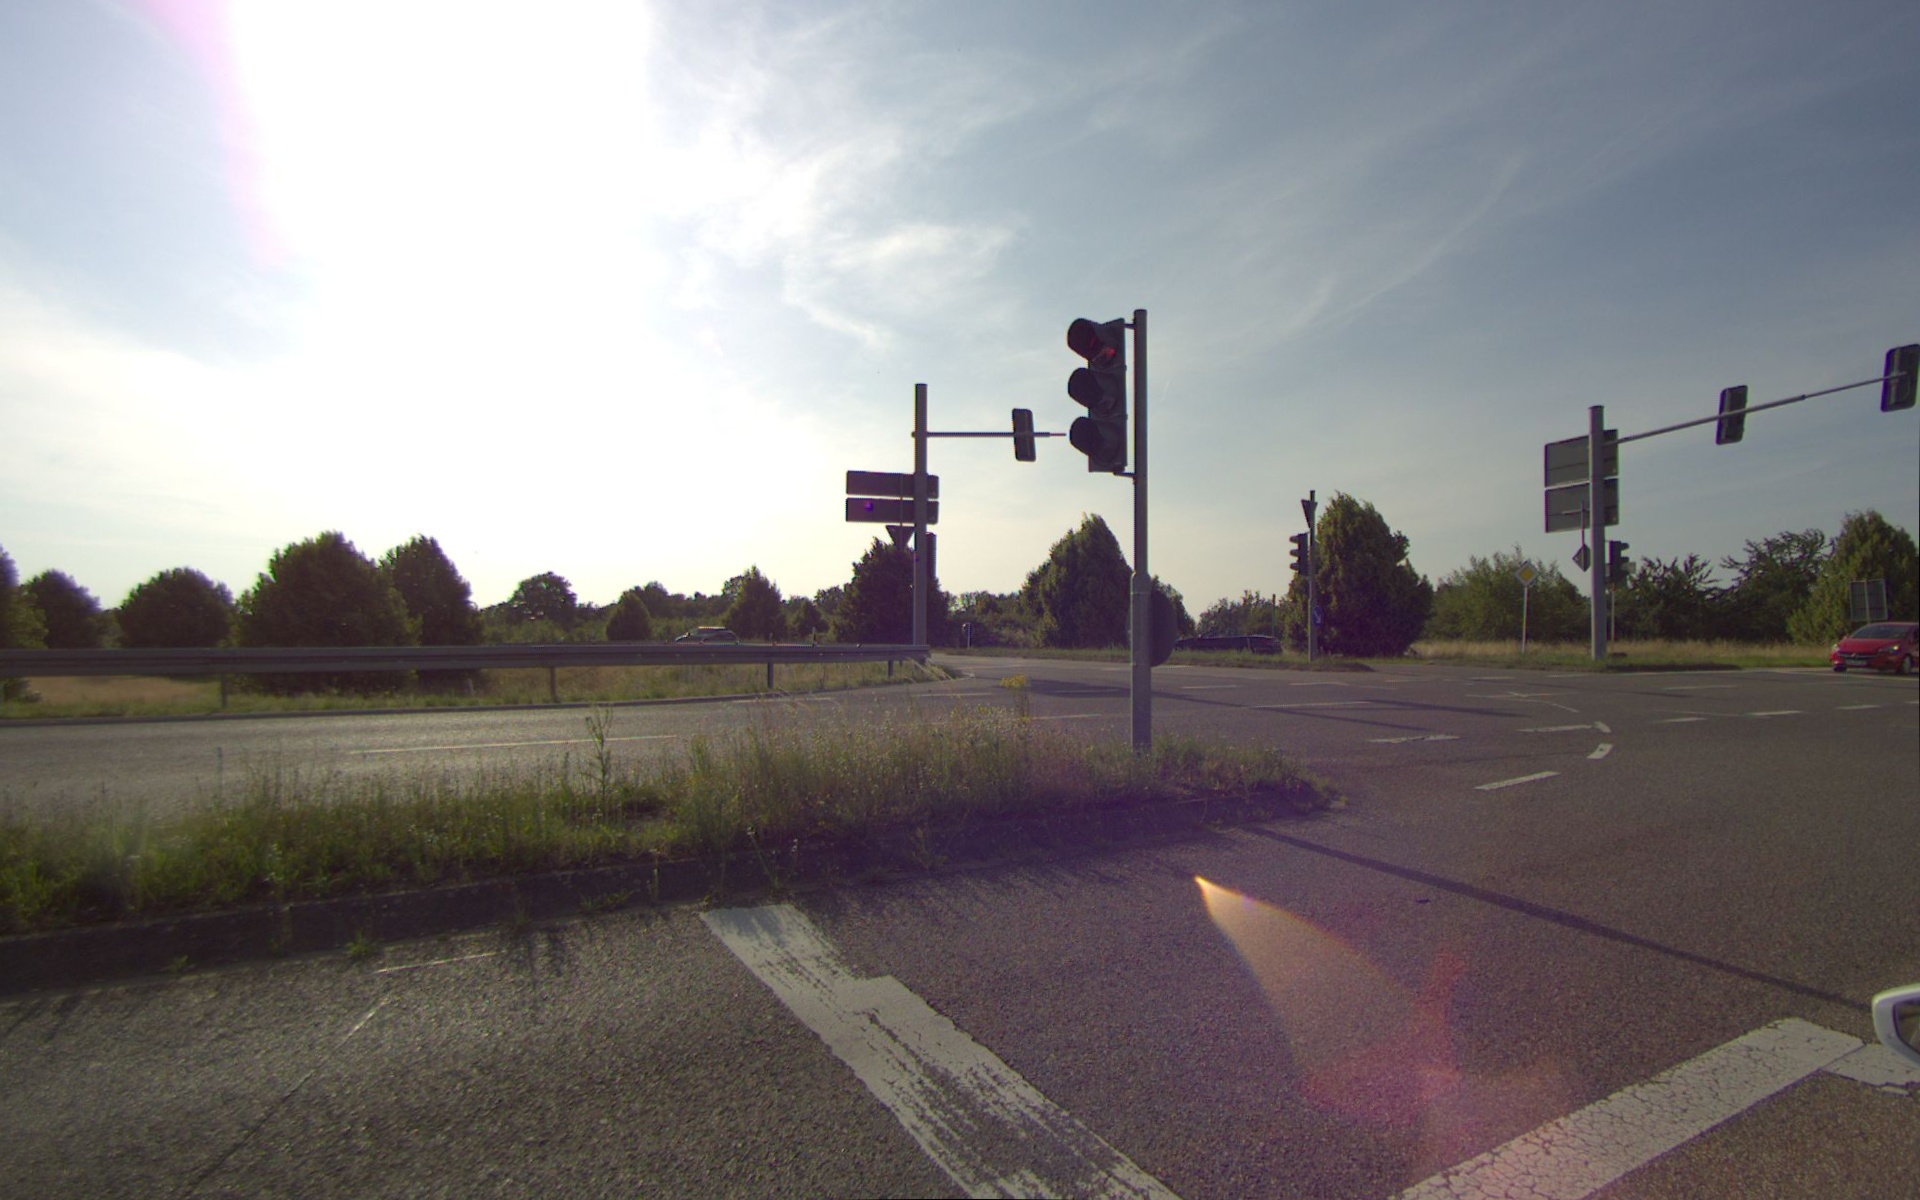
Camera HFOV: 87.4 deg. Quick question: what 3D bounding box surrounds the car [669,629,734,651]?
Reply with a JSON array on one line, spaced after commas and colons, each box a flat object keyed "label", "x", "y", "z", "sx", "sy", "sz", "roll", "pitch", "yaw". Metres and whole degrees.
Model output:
[{"label": "car", "x": -16.349, "y": 2.497, "z": 63.458, "sx": 4.598, "sy": 1.309, "sz": 1.436, "roll": 0, "pitch": -2, "yaw": 37}]

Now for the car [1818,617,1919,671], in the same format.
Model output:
[{"label": "car", "x": 27.204, "y": 1.278, "z": 29.470, "sx": 3.752, "sy": 1.507, "sz": 1.716, "roll": 1, "pitch": -1, "yaw": -25}]

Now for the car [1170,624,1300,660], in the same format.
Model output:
[{"label": "car", "x": 10.649, "y": 1.607, "z": 38.986, "sx": 4.582, "sy": 1.299, "sz": 1.722, "roll": 0, "pitch": -1, "yaw": 32}]
